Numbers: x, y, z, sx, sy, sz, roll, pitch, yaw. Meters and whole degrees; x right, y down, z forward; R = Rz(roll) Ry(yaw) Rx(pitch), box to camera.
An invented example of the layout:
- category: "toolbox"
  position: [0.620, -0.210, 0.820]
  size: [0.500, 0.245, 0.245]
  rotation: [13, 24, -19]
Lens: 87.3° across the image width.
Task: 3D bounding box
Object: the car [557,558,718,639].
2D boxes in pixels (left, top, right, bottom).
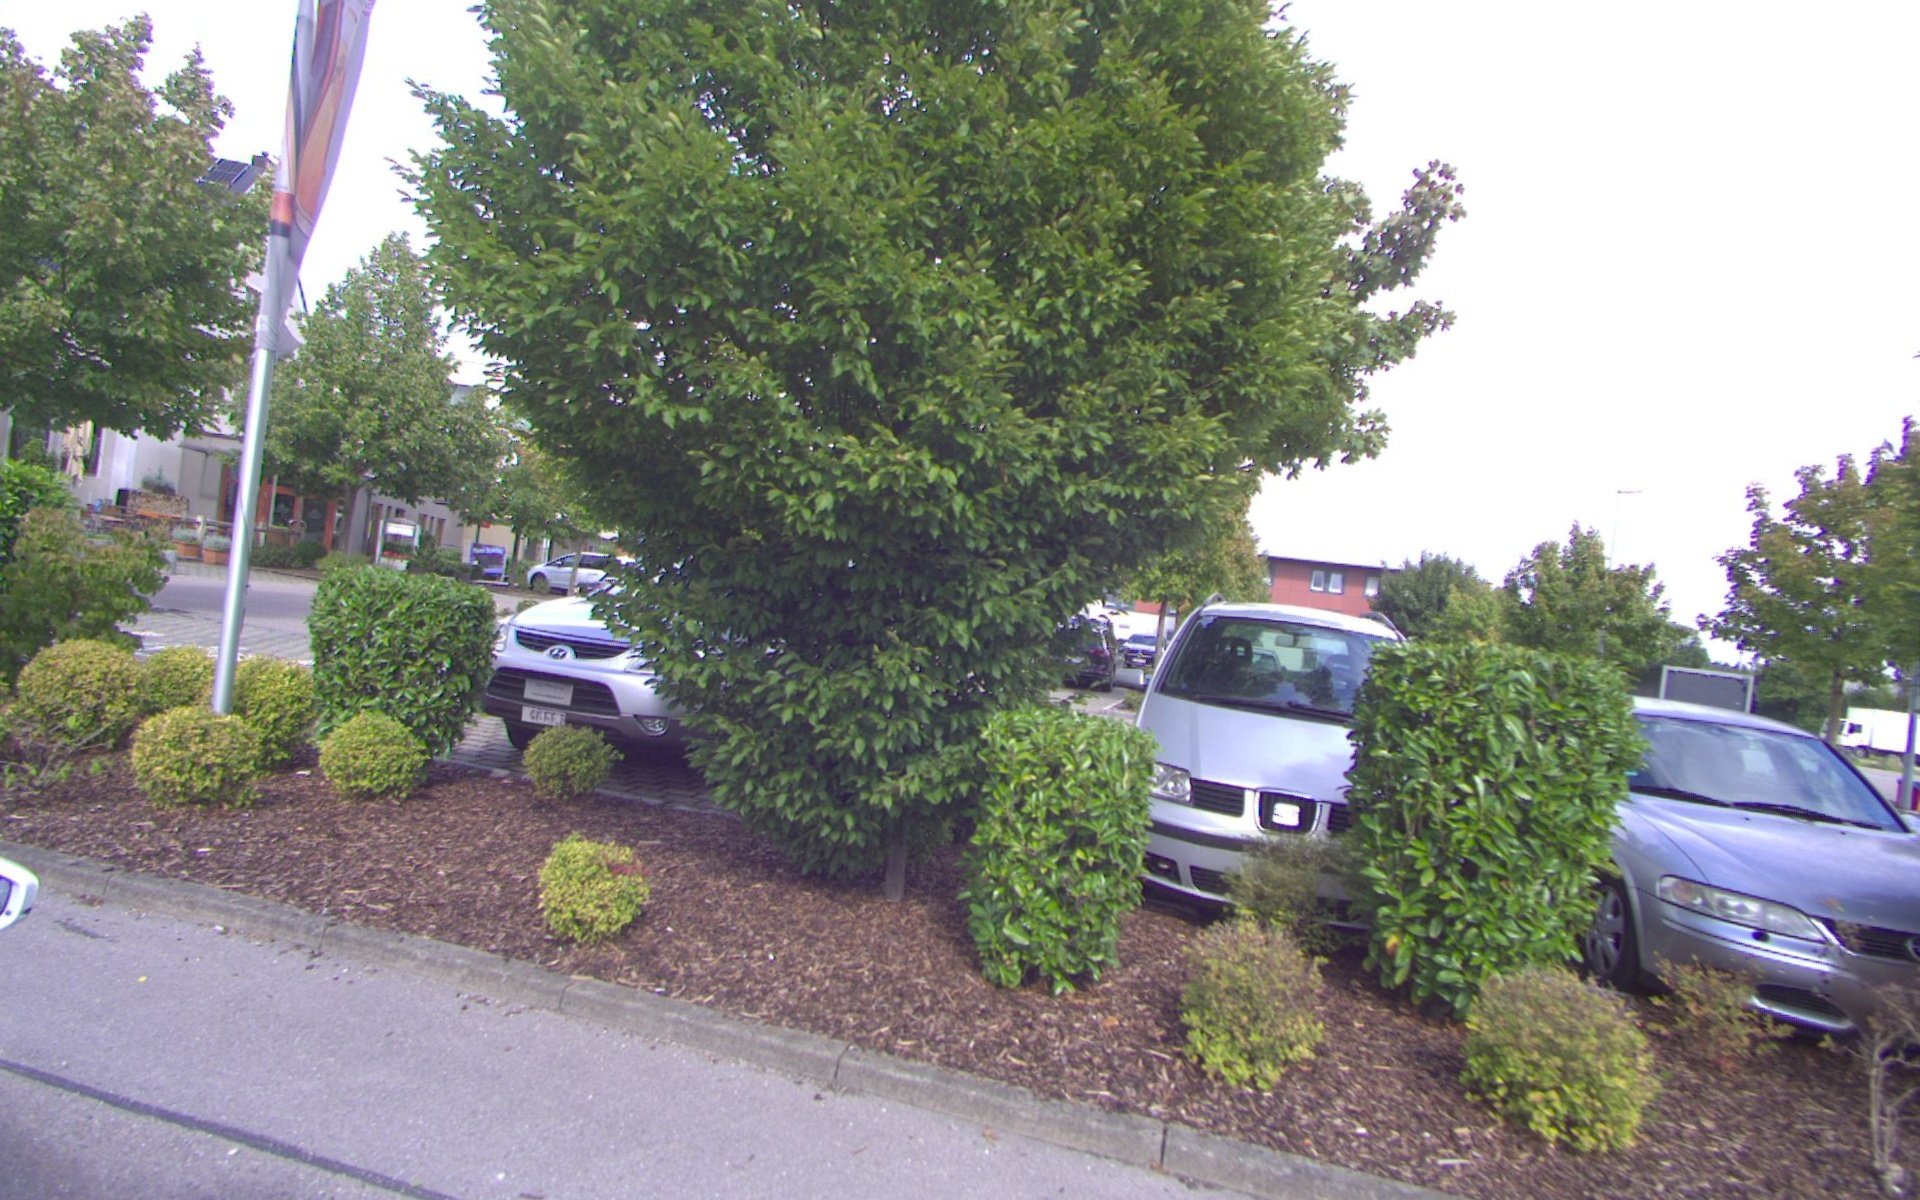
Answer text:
- category: "car"
  position: [-6.850, 0.025, 21.699]
  size: [1.598, 1.367, 3.375]
  rotation: [7, -1, 15]

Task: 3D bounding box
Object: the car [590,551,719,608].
- category: "car"
  position: [-13.018, -0.873, 42.877]
  size: [4.982, 1.732, 1.599]
  rotation: [8, 0, 14]

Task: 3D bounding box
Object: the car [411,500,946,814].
- category: "car"
  position: [-1.861, 0.398, 8.447]
  size: [1.883, 1.717, 4.679]
  rotation: [7, 0, 19]

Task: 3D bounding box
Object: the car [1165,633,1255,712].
- category: "car"
  position: [5.824, 1.641, 23.318]
  size: [1.688, 1.444, 4.280]
  rotation: [7, -1, 15]

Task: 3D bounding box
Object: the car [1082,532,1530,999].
- category: "car"
  position: [2.114, 0.794, 6.401]
  size: [1.626, 1.737, 4.366]
  rotation: [7, -1, 19]

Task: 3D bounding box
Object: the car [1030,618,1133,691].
- category: "car"
  position: [2.990, 1.310, 23.983]
  size: [1.688, 1.362, 4.280]
  rotation: [7, -1, 15]

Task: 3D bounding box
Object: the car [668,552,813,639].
- category: "car"
  position: [-5.679, -0.032, 26.655]
  size: [1.734, 1.843, 4.370]
  rotation: [7, -1, 15]

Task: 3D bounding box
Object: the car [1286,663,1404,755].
- category: "car"
  position: [8.503, 2.348, 22.548]
  size: [1.962, 1.589, 4.003]
  rotation: [8, -1, 17]

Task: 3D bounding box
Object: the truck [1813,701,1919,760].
- category: "truck"
  position: [63.585, 9.056, 68.305]
  size: [8.174, 3.072, 2.592]
  rotation: [8, 0, 11]

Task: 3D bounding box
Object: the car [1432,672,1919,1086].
- category: "car"
  position: [4.119, 1.241, 5.694]
  size: [1.693, 1.365, 4.004]
  rotation: [8, -1, 14]

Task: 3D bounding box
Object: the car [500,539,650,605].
- category: "car"
  position: [-14.336, -1.028, 37.530]
  size: [4.982, 1.732, 1.752]
  rotation: [8, -1, 14]

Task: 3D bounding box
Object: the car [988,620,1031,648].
- category: "car"
  position: [2.873, 1.985, 57.621]
  size: [1.734, 1.293, 4.004]
  rotation: [8, -1, 11]

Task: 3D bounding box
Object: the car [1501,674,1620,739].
- category: "car"
  position: [18.889, 3.305, 31.841]
  size: [1.962, 1.548, 4.004]
  rotation: [8, -1, 14]
